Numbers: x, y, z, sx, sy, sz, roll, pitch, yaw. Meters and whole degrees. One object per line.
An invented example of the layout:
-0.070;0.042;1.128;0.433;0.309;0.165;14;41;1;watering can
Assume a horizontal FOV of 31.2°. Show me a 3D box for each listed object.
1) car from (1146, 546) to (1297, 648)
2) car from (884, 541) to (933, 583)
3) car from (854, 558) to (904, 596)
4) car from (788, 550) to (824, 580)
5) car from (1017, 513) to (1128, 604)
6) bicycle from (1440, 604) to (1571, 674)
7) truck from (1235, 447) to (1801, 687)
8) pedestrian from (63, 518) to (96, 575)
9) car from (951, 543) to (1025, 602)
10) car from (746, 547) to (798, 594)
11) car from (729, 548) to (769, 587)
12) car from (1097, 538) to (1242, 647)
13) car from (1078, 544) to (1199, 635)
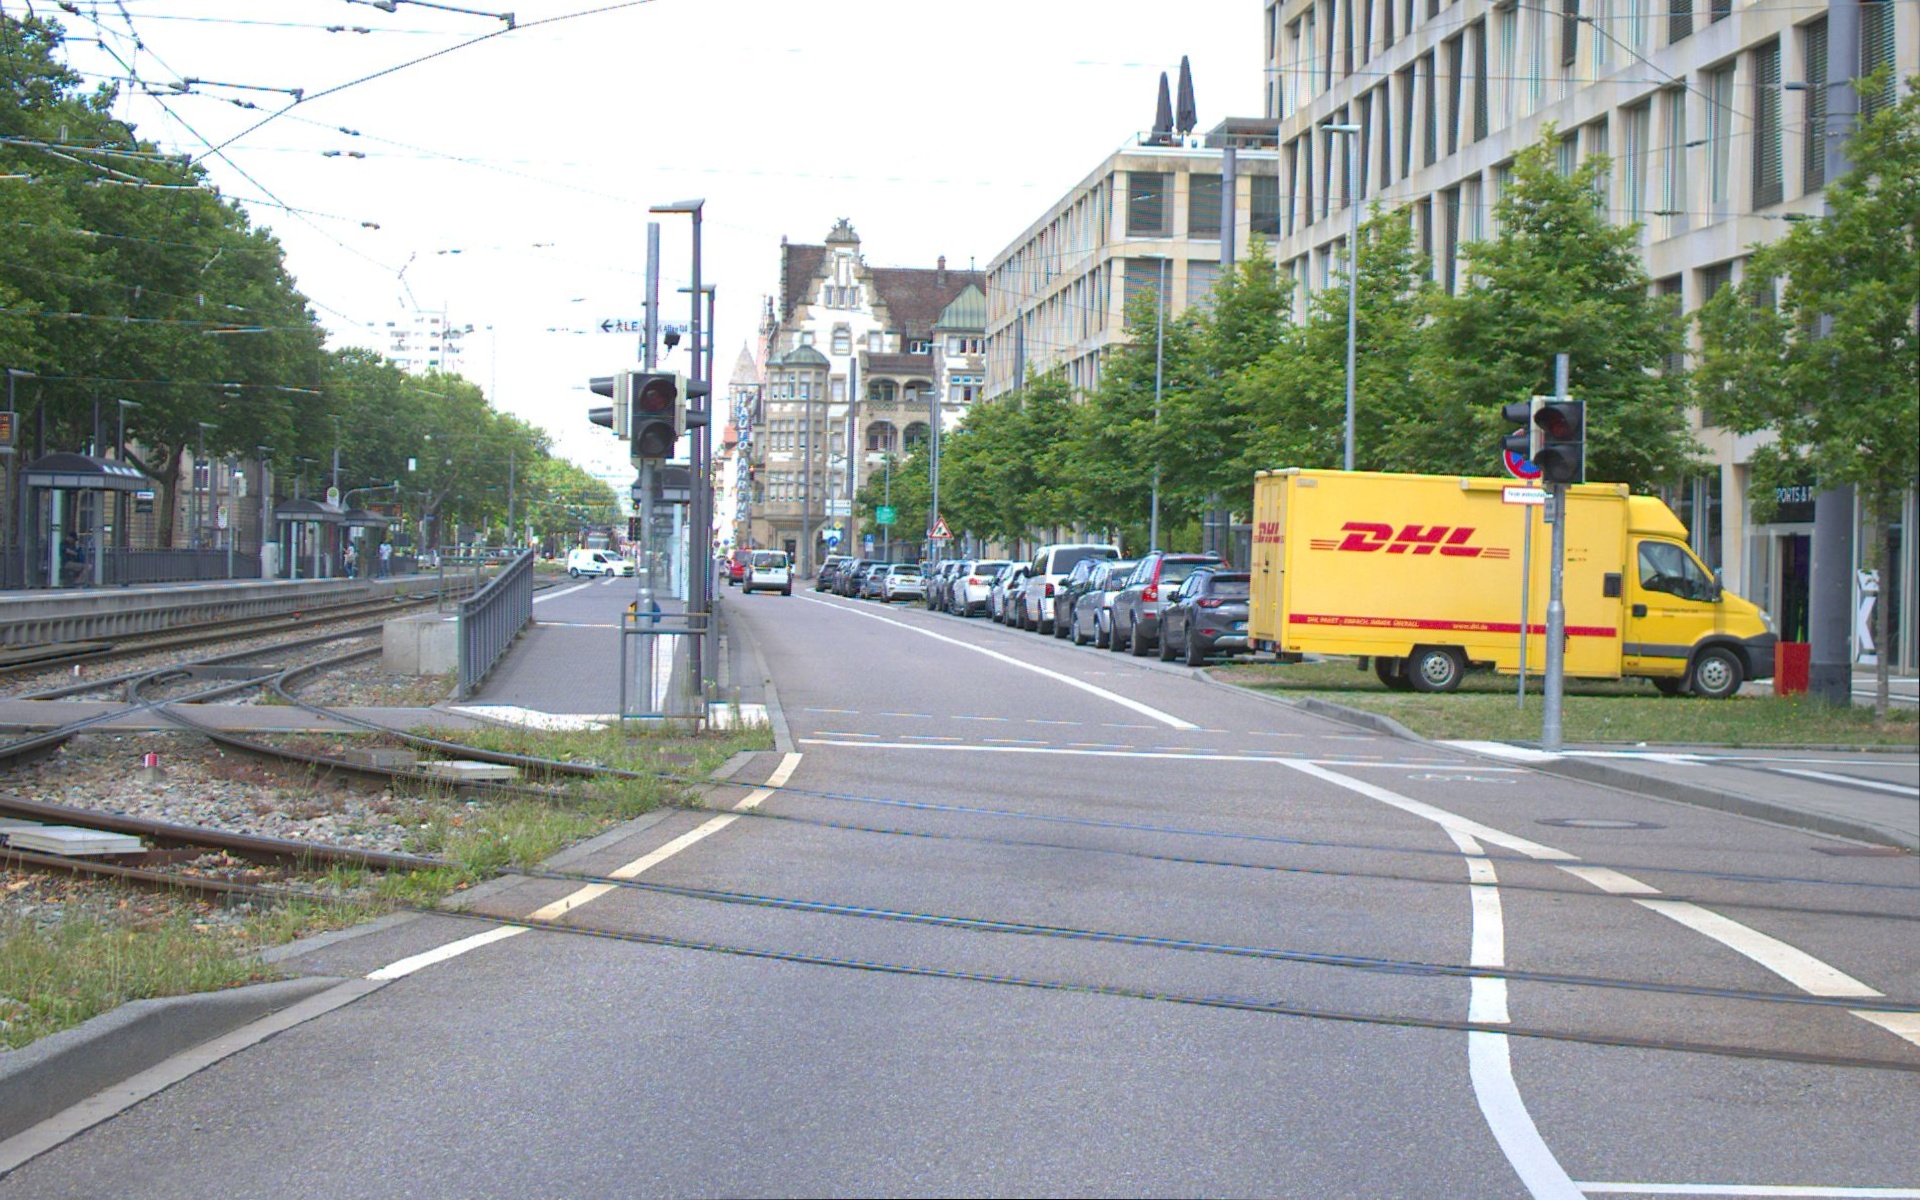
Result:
4.067;-0.077;54.017;1.691;1.499;4.069;2;1;-5;car
-1.946;-1.428;129.158;1.591;1.455;3.613;3;1;-4;car
-3.331;-0.963;140.643;1.591;1.429;4.108;4;1;-7;car
-7.493;-1.712;166.986;1.443;1.465;4.093;-1;1;-7;car
2.453;-0.914;75.945;1.881;1.932;4.844;0;1;-5;car
8.248;0.586;51.959;1.841;0.953;0.520;3;0;-6;bicycle
7.219;-0.416;44.871;6.804;2.857;2.455;2;0;-7;truck
-19.915;-1.202;77.766;0.552;1.265;0.768;2;1;-3;pedestrian
0.775;-0.790;96.684;1.685;1.600;4.152;0;1;-5;car
-7.593;-1.199;138.767;1.868;1.740;4.001;3;0;-5;car
-11.023;-1.682;179.611;1.993;2.007;4.001;0;0;-4;car
3.568;-0.157;59.390;1.768;1.761;4.841;2;1;-5;car
3.319;-0.219;64.542;1.721;1.614;3.861;2;1;-5;car
